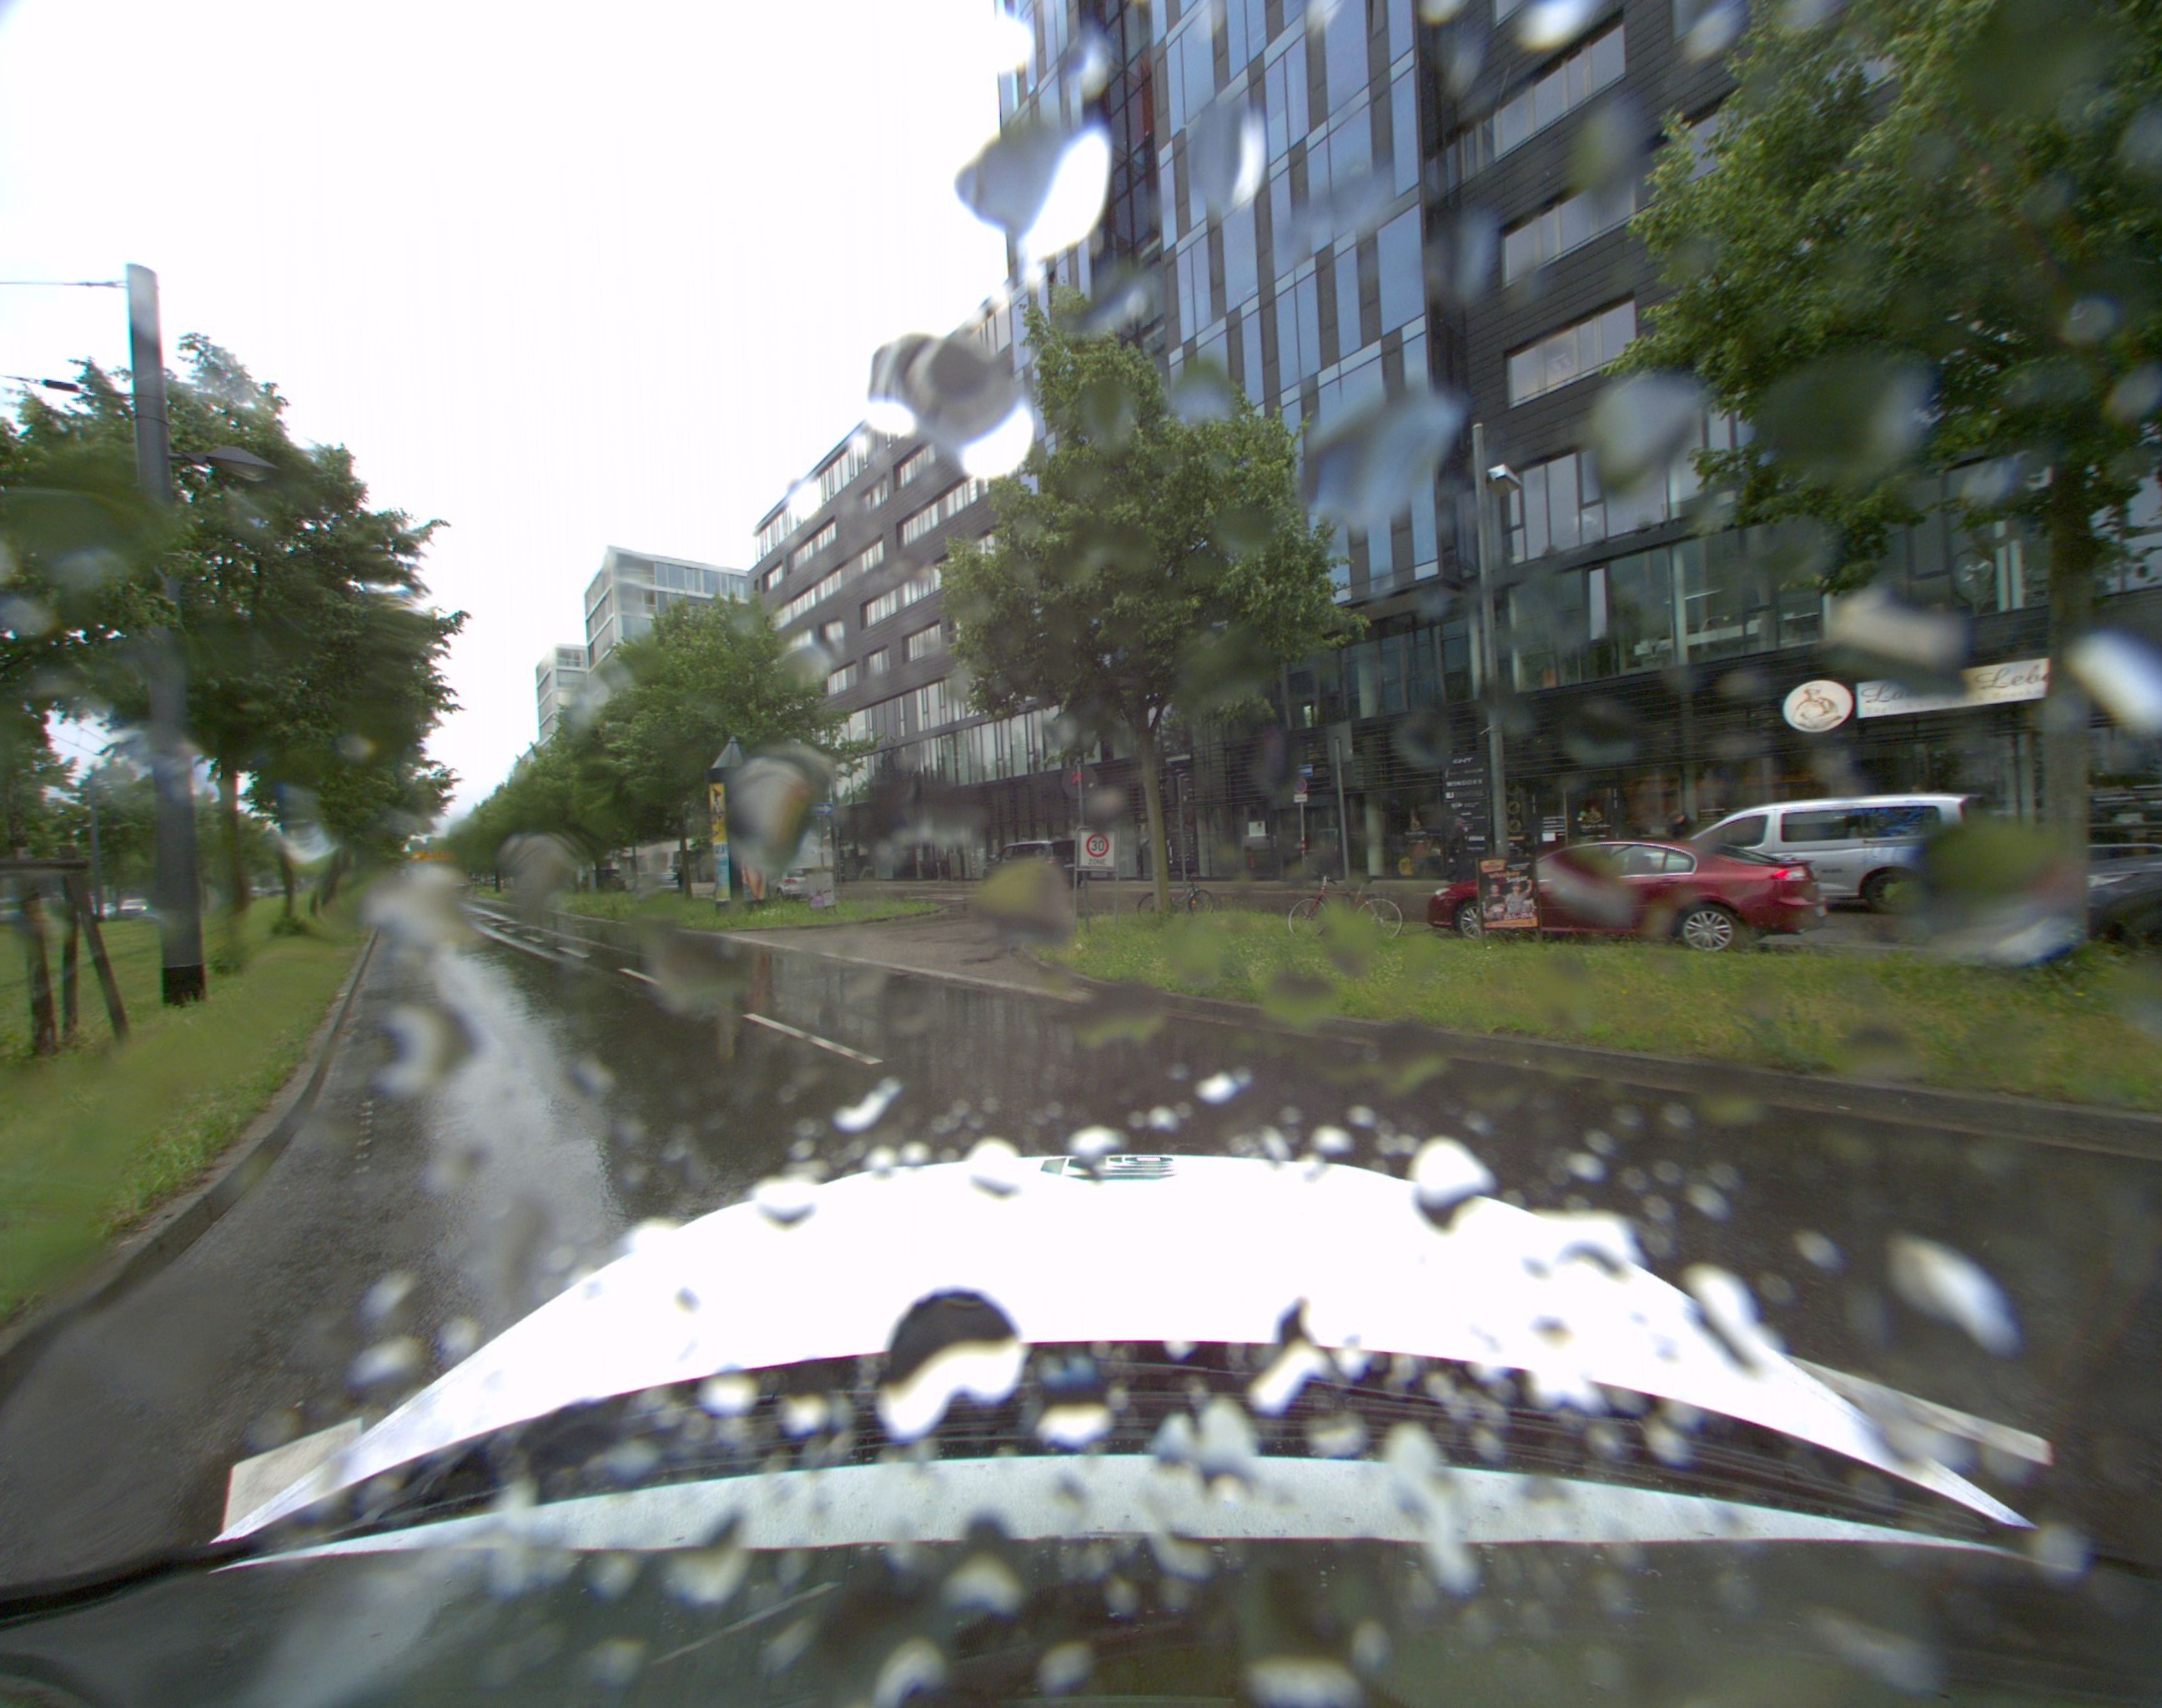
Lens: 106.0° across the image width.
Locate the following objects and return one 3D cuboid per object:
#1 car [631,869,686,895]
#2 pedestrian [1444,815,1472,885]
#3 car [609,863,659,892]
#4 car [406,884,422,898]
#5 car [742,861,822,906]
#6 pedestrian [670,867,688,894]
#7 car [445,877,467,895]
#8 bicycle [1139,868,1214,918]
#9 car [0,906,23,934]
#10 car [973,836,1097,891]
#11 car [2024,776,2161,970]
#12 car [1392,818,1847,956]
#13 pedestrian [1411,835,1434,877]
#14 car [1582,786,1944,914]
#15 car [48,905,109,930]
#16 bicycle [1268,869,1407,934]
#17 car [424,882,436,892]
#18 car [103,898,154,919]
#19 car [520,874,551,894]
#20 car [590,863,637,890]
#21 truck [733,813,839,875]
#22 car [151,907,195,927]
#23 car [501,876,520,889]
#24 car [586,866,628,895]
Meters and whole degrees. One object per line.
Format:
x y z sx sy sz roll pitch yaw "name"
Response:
-26.077 1.684 50.177 1.785 1.452 4.666 -2 0 -43 "car"
10.132 -0.112 21.920 0.571 1.832 0.509 -1 2 13 "pedestrian"
-30.064 1.530 54.657 2.011 1.669 4.668 -4 3 -40 "car"
-118.496 6.536 144.621 2.010 2.013 3.955 -3 3 -38 "car"
-12.440 1.176 33.746 1.776 1.596 4.052 -4 3 -40 "car"
-23.101 1.519 46.831 0.704 1.493 0.636 -3 0 -43 "pedestrian"
-77.686 3.937 101.184 1.957 2.013 3.953 -3 3 -40 "car"
1.954 0.793 16.776 1.456 0.917 0.432 -2 2 -9 "bicycle"
-70.245 4.320 52.102 1.966 1.749 4.524 -3 0 -37 "car"
-1.894 0.387 31.841 2.011 1.920 5.086 -3 1 -43 "car"
11.107 0.135 6.815 2.011 1.707 4.167 -4 3 -41 "car"
7.181 0.384 11.380 2.011 1.454 4.901 -4 1 -40 "car"
10.411 0.056 24.806 0.446 1.237 0.582 -2 2 1 "pedestrian"
11.701 -0.119 14.257 1.910 1.865 4.666 -4 3 -43 "car"
-73.033 4.621 59.406 1.968 1.513 4.521 -3 0 -40 "car"
3.826 0.686 12.213 1.890 0.861 0.578 0 2 34 "bicycle"
-151.715 7.786 189.765 2.010 2.013 3.955 -3 3 -38 "car"
-78.555 4.474 67.218 1.968 1.452 4.521 -3 0 -40 "car"
-55.011 3.023 82.142 2.011 1.669 4.668 -4 3 -40 "car"
-33.991 1.574 59.154 2.011 1.669 4.900 -4 3 -40 "car"
-18.723 -0.560 51.351 3.052 3.440 8.443 -3 0 -43 "truck"
-90.321 6.211 81.057 1.966 1.460 4.777 -3 3 -37 "car"
-82.738 4.106 118.075 1.897 1.505 4.668 -4 3 -40 "car"
-37.830 2.063 64.887 2.011 1.952 4.970 -4 3 -40 "car"
